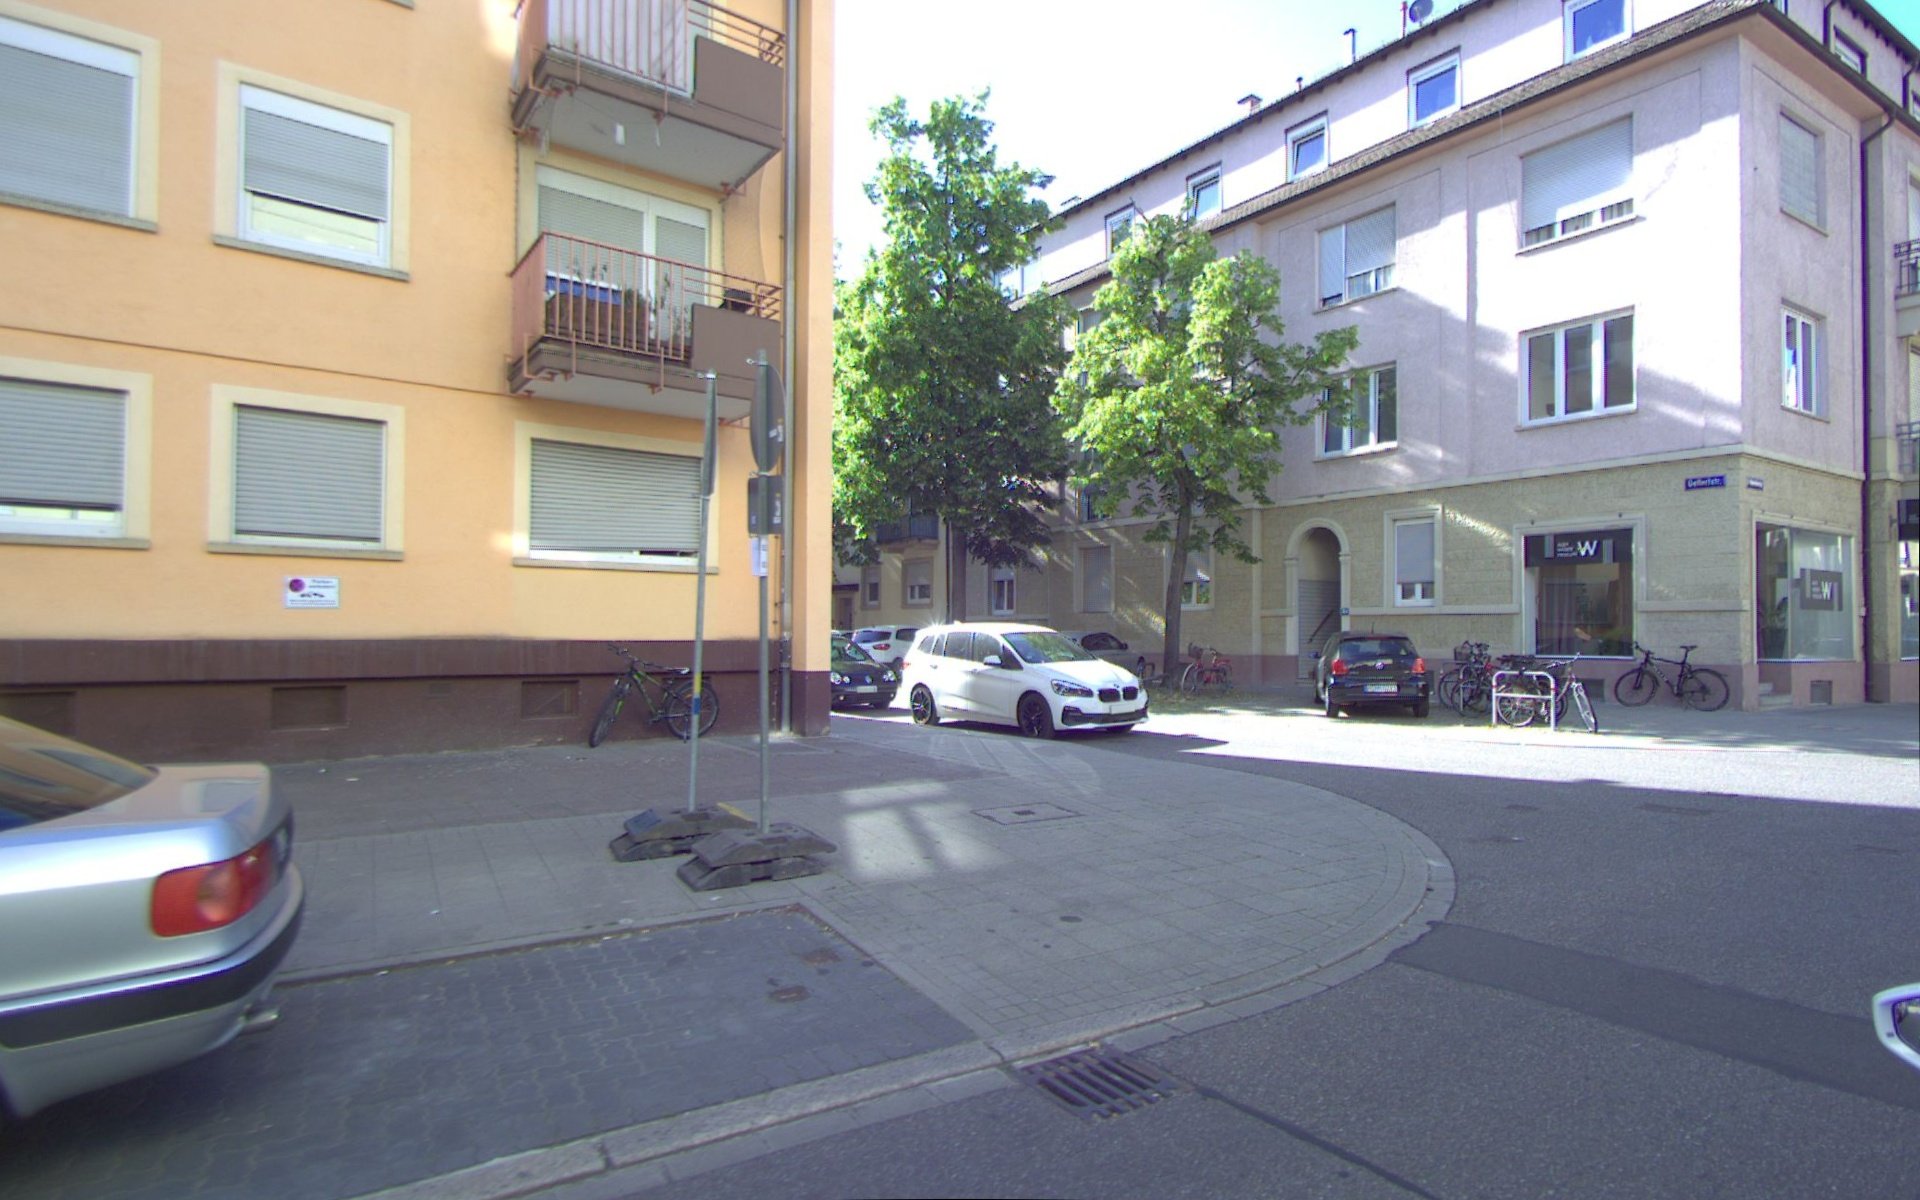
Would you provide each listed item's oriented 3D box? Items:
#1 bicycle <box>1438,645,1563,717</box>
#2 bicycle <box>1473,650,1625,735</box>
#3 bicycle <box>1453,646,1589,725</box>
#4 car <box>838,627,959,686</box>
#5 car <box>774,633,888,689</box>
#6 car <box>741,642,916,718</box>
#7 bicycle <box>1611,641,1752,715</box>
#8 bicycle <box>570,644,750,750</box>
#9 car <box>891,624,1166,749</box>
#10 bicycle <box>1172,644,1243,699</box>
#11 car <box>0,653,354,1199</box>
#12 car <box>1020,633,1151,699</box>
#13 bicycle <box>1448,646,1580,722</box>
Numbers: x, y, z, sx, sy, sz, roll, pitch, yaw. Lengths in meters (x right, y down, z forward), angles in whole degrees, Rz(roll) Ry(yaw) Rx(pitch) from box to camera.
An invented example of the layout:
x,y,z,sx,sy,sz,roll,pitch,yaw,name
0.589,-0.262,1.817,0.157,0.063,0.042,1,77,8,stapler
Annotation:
x,y,z,sx,sy,sz,roll,pitch,yaw,name
9.379,1.376,17.506,0.520,1.150,1.888,-1,-1,-33,bicycle
8.793,1.344,15.078,0.640,1.150,1.890,-1,-1,-29,bicycle
8.954,1.339,16.117,0.520,1.150,1.890,-1,-1,-29,bicycle
-1.836,1.668,30.835,1.680,1.630,3.590,-1,-1,42,car
-4.302,1.993,33.723,1.680,1.690,3.590,-1,-1,42,car
-2.778,1.547,20.487,1.712,1.327,4.167,1,-2,-37,car
12.478,1.315,17.425,0.642,1.150,1.884,-1,0,-37,bicycle
-3.350,1.053,11.324,1.874,1.078,0.500,1,1,-36,bicycle
0.871,1.184,15.266,1.712,1.614,4.401,1,-2,-37,car
5.485,1.559,22.190,1.877,1.078,0.499,0,1,-40,bicycle
-4.110,0.875,2.473,4.426,1.396,1.754,1,-1,-31,car
3.157,1.540,24.565,1.674,1.457,4.207,-1,-2,30,car
9.178,1.355,16.720,0.520,1.150,1.888,-1,-1,-33,bicycle
